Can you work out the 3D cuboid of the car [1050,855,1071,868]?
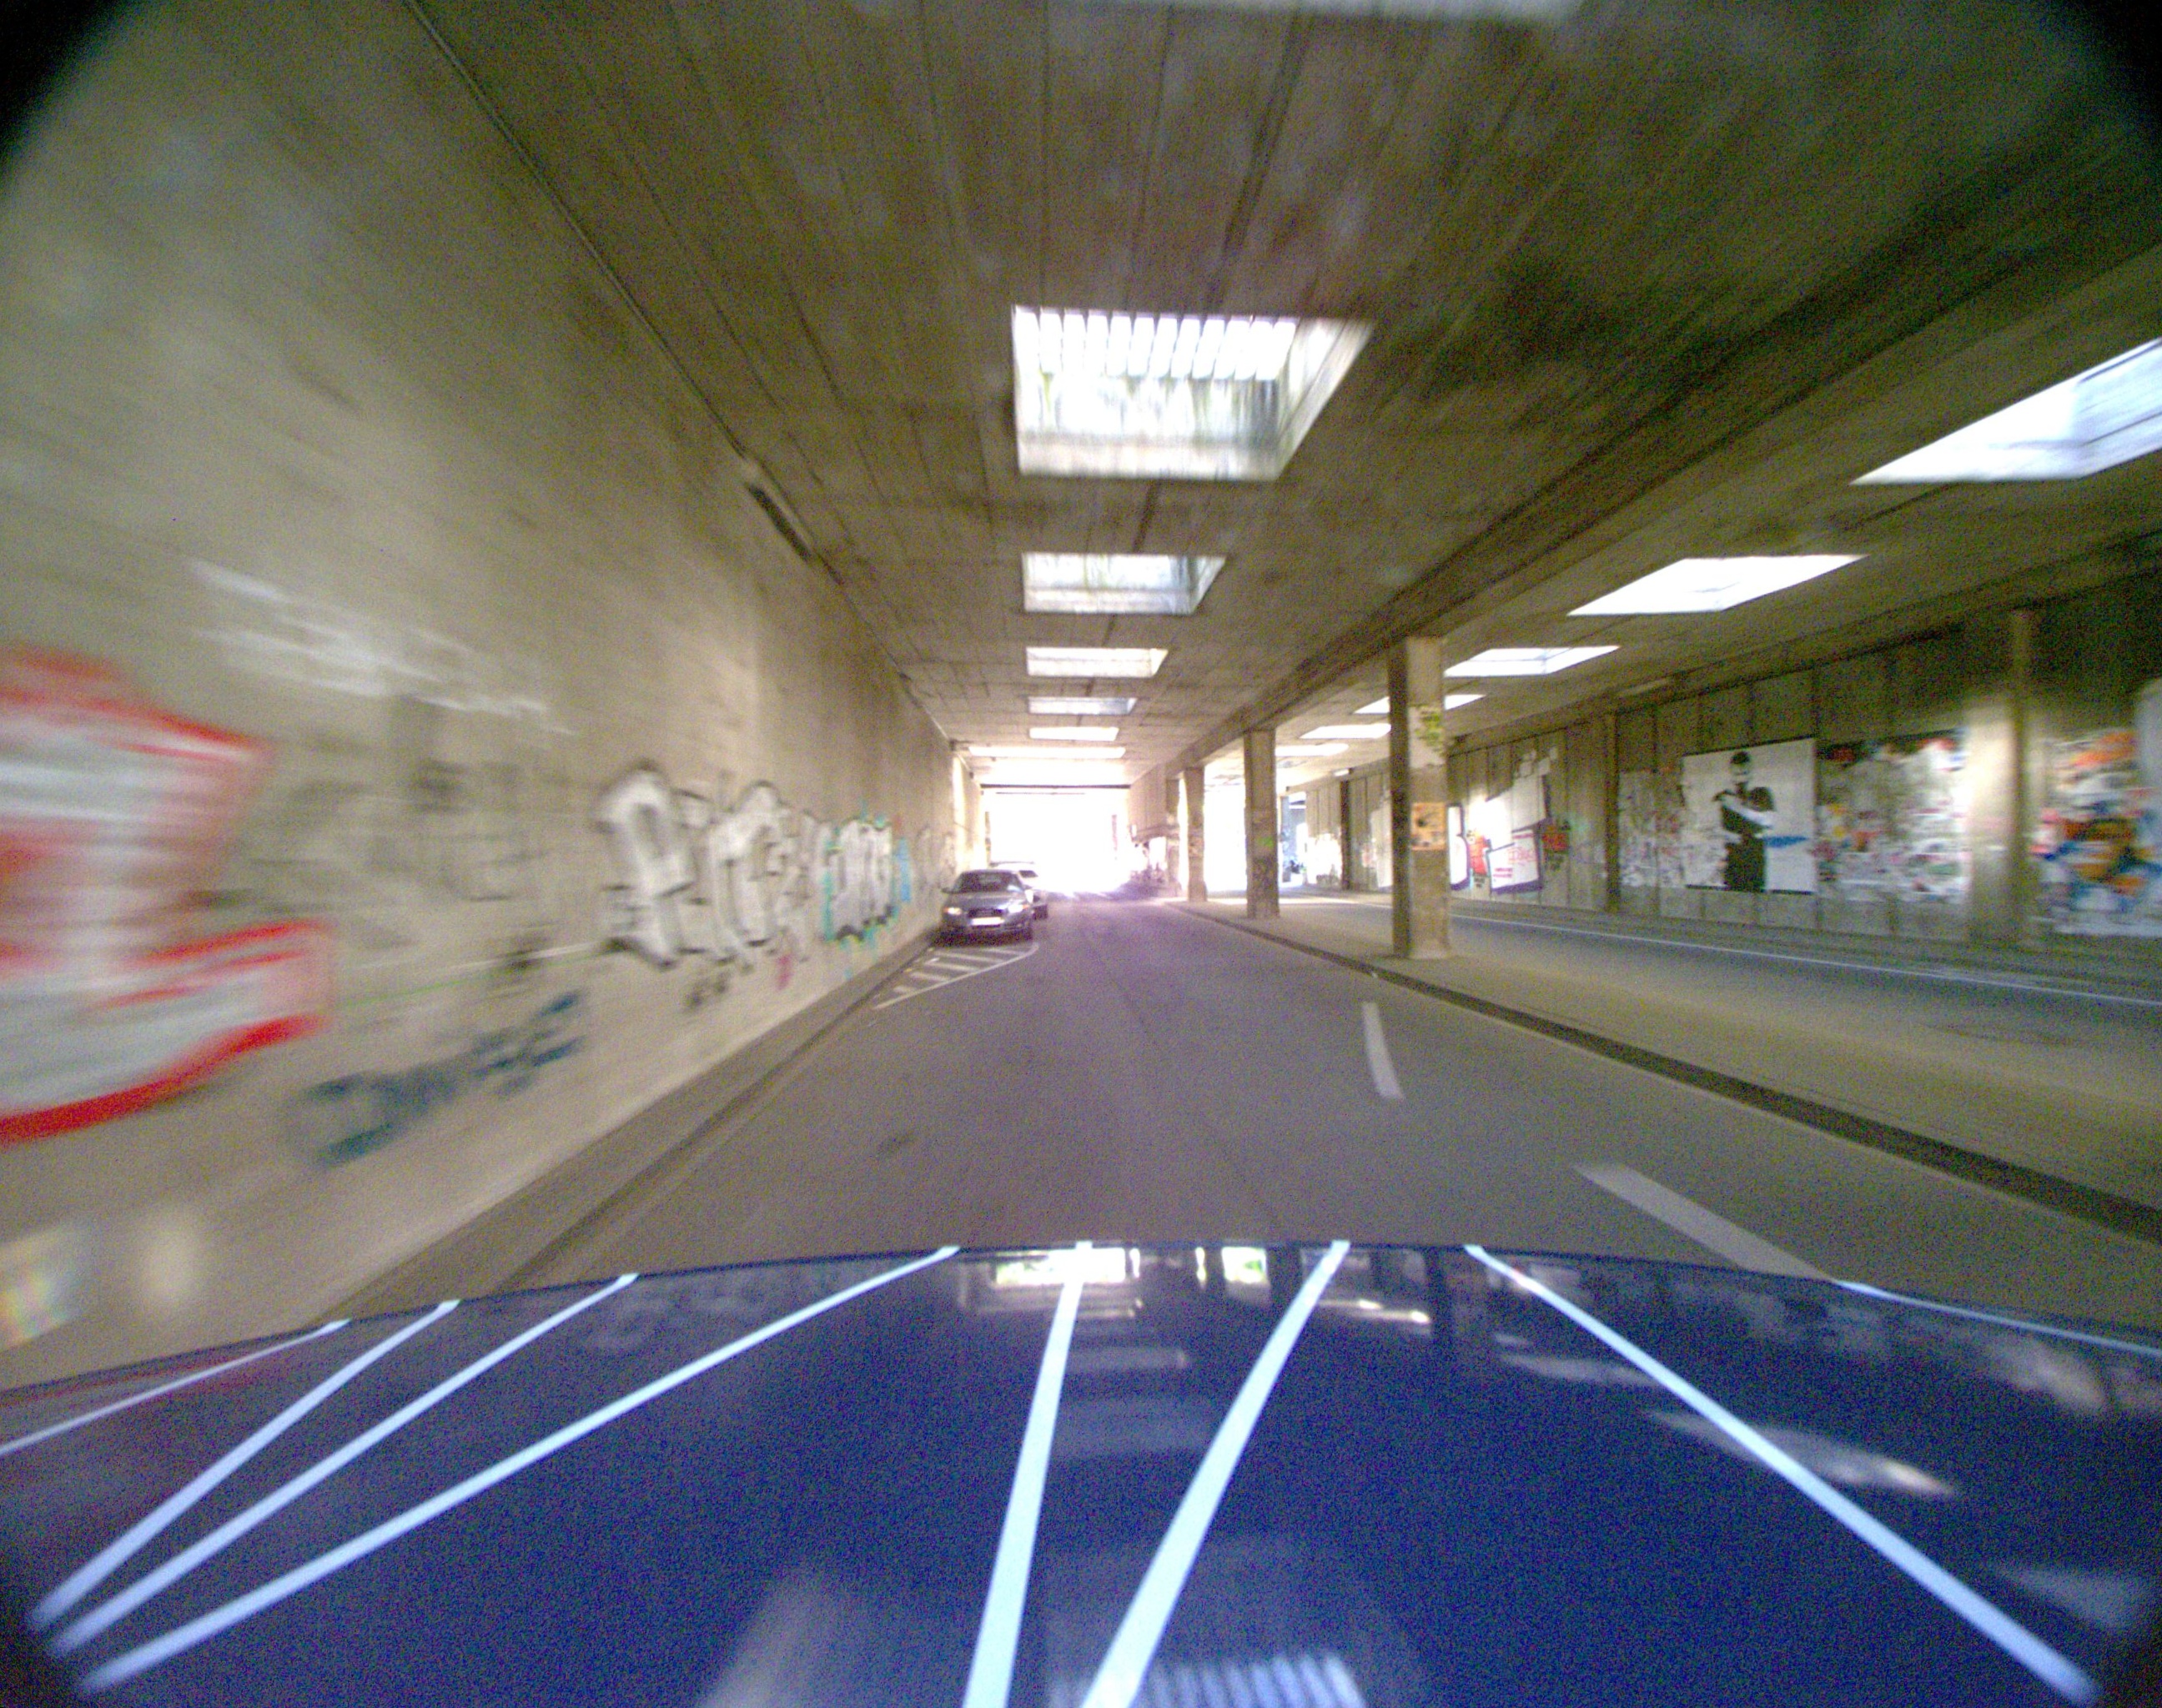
[{"bbox_3d":[-2.403,0.829,89.658,1.693,1.454,3.995,-1,0,-13],"label":"car"}]

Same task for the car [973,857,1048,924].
[{"bbox_3d":[-1.950,0.959,21.608,1.858,1.656,4.369,-2,0,-4],"label":"car"}]

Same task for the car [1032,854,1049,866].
[{"bbox_3d":[-5.652,0.835,106.183,1.696,1.548,3.817,-1,0,-13],"label":"car"}]

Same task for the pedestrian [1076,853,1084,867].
[{"bbox_3d":[-0.127,0.664,84.580,0.632,1.567,0.532,-1,1,21],"label":"pedestrian"}]

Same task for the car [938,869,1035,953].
[{"bbox_3d":[-1.860,1.063,15.905,1.706,1.366,4.372,-2,0,-4],"label":"car"}]

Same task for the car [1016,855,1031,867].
[{"bbox_3d":[-9.256,1.089,121.990,1.778,1.870,3.996,-1,0,-12],"label":"car"}]

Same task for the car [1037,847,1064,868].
[{"bbox_3d":[-3.844,0.441,95.502,2.221,2.437,5.088,-2,0,-15],"label":"car"}]
